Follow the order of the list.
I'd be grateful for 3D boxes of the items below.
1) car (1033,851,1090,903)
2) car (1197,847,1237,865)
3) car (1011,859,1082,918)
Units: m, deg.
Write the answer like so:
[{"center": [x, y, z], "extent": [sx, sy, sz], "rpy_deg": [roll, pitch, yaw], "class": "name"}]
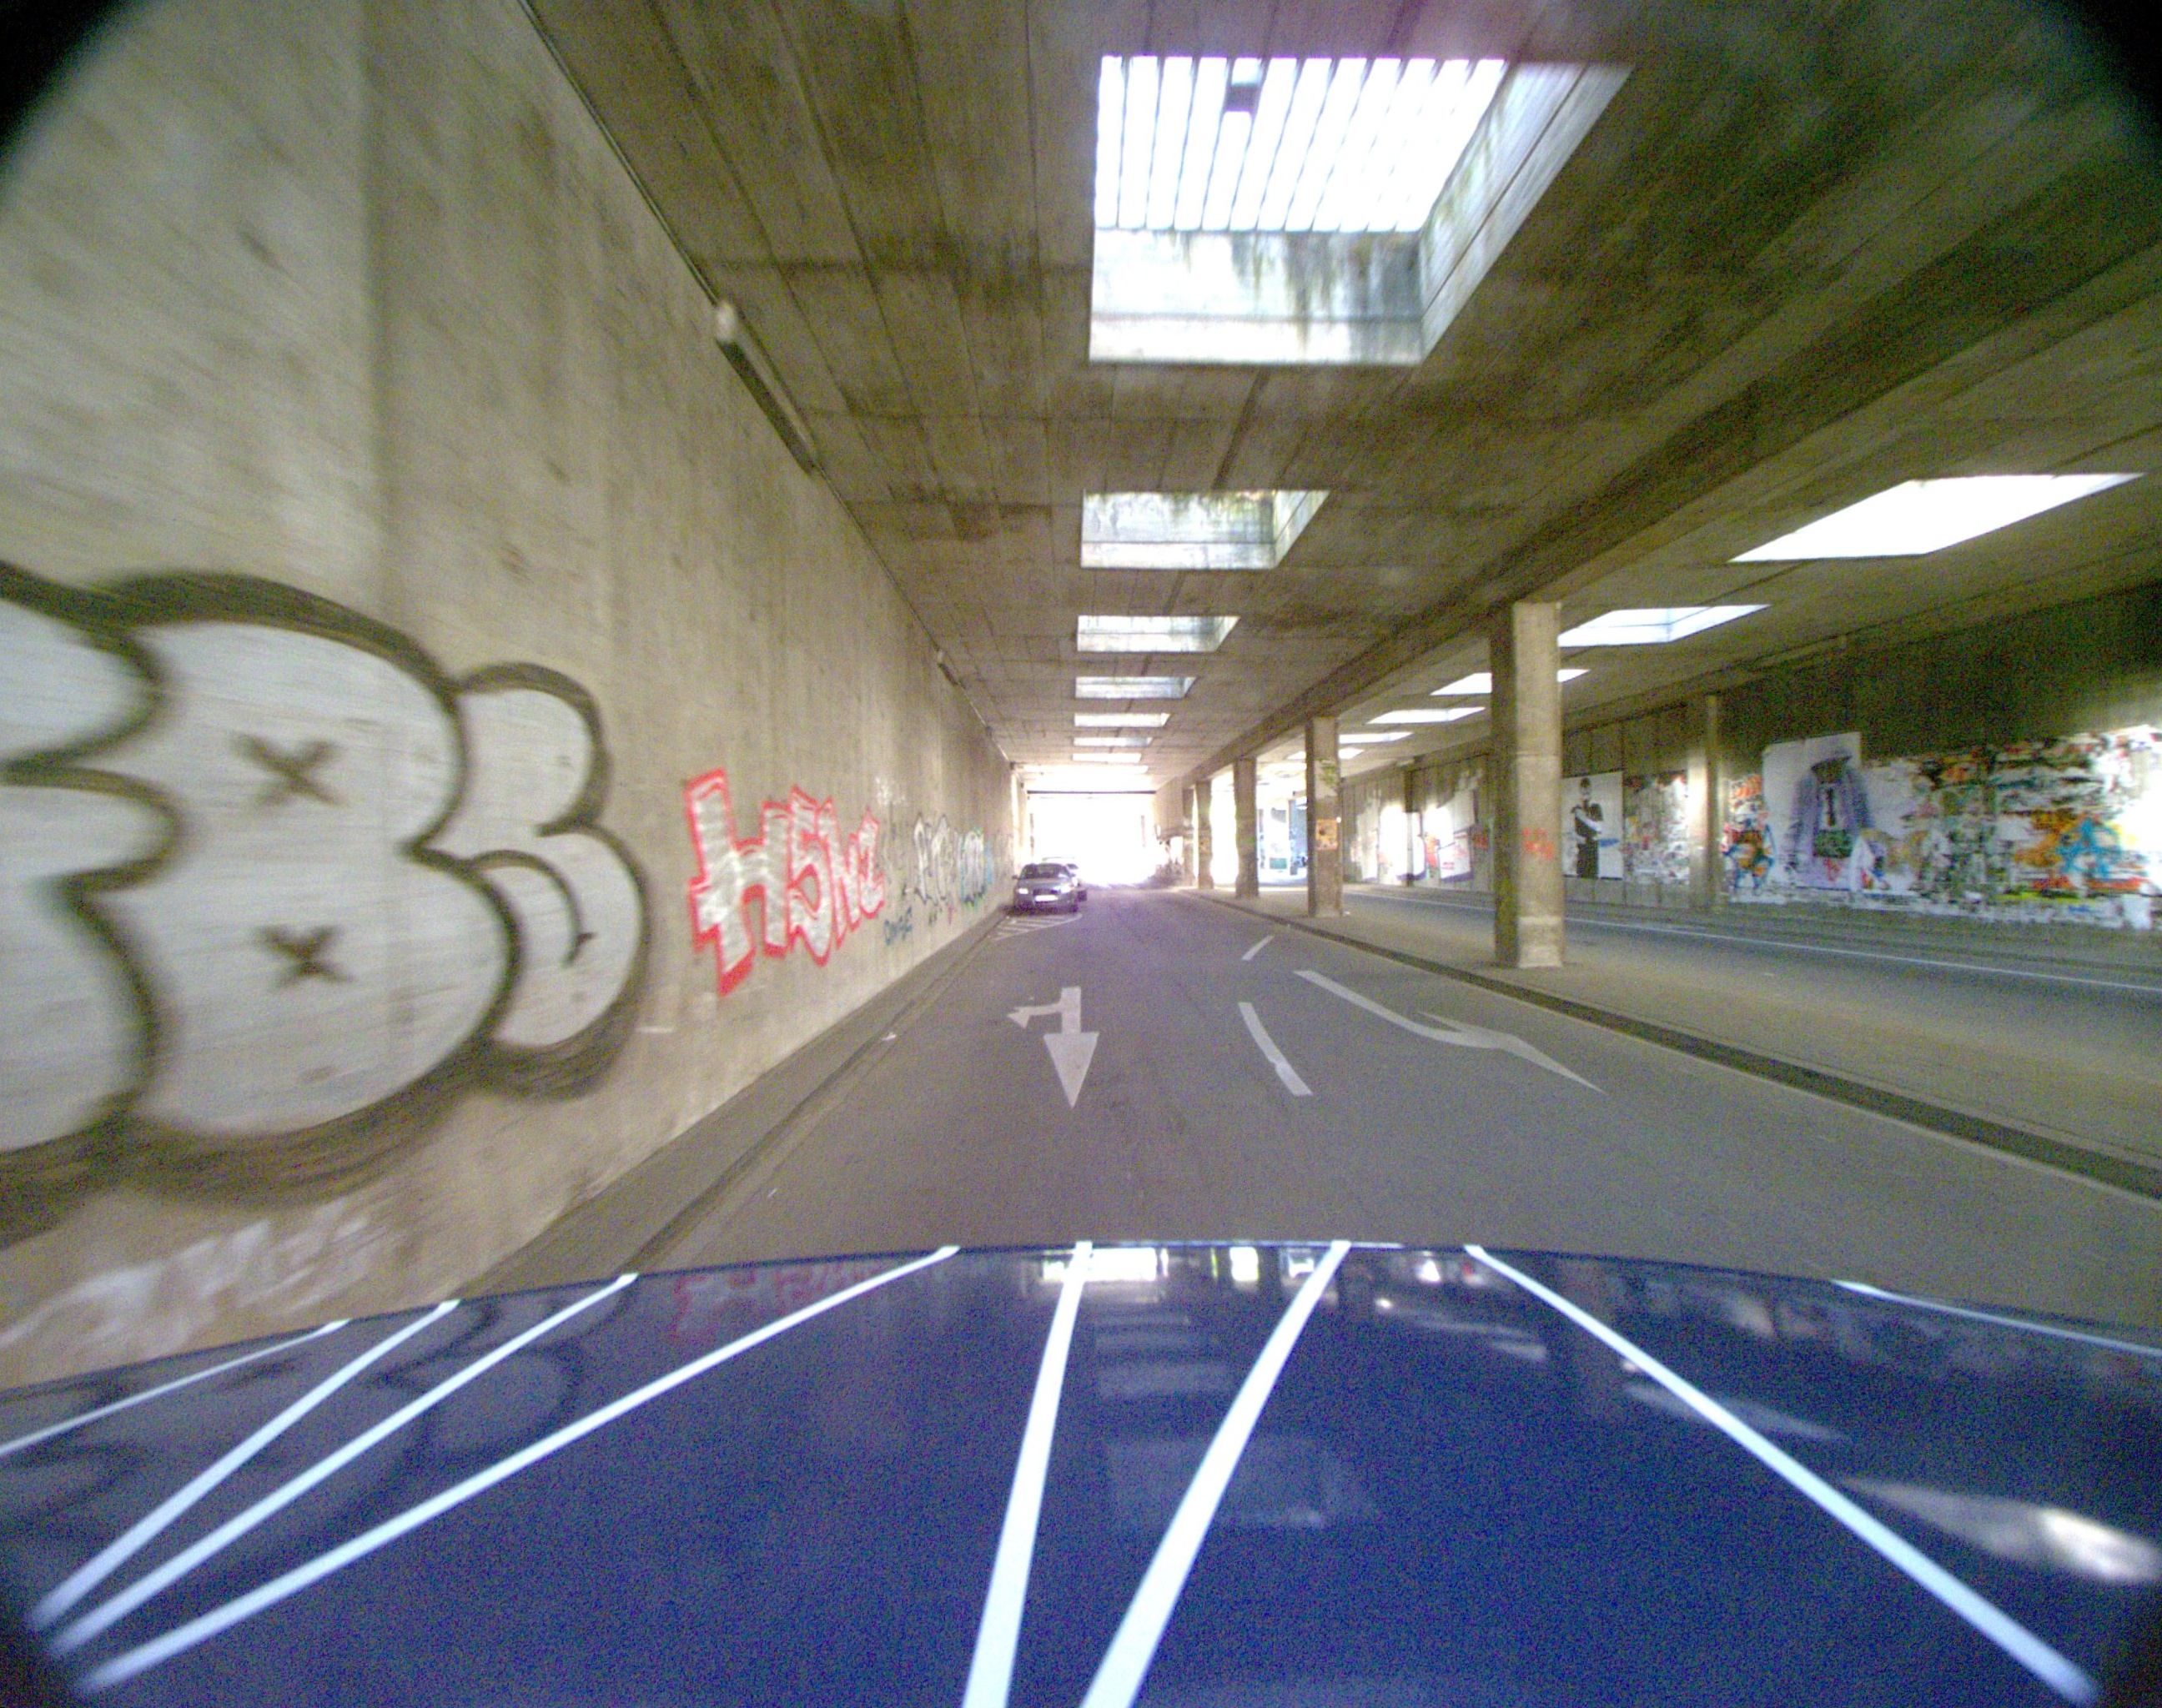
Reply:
[{"center": [-0.648, 0.777, 27.570], "extent": [1.861, 1.709, 4.000], "rpy_deg": [-2, 0, 0], "class": "car"}, {"center": [14.888, 0.236, 83.096], "extent": [3.998, 1.841, 1.811], "rpy_deg": [-1, 0, -3], "class": "car"}, {"center": [-0.895, 0.919, 21.969], "extent": [1.808, 1.460, 4.000], "rpy_deg": [-2, 0, 0], "class": "car"}]
